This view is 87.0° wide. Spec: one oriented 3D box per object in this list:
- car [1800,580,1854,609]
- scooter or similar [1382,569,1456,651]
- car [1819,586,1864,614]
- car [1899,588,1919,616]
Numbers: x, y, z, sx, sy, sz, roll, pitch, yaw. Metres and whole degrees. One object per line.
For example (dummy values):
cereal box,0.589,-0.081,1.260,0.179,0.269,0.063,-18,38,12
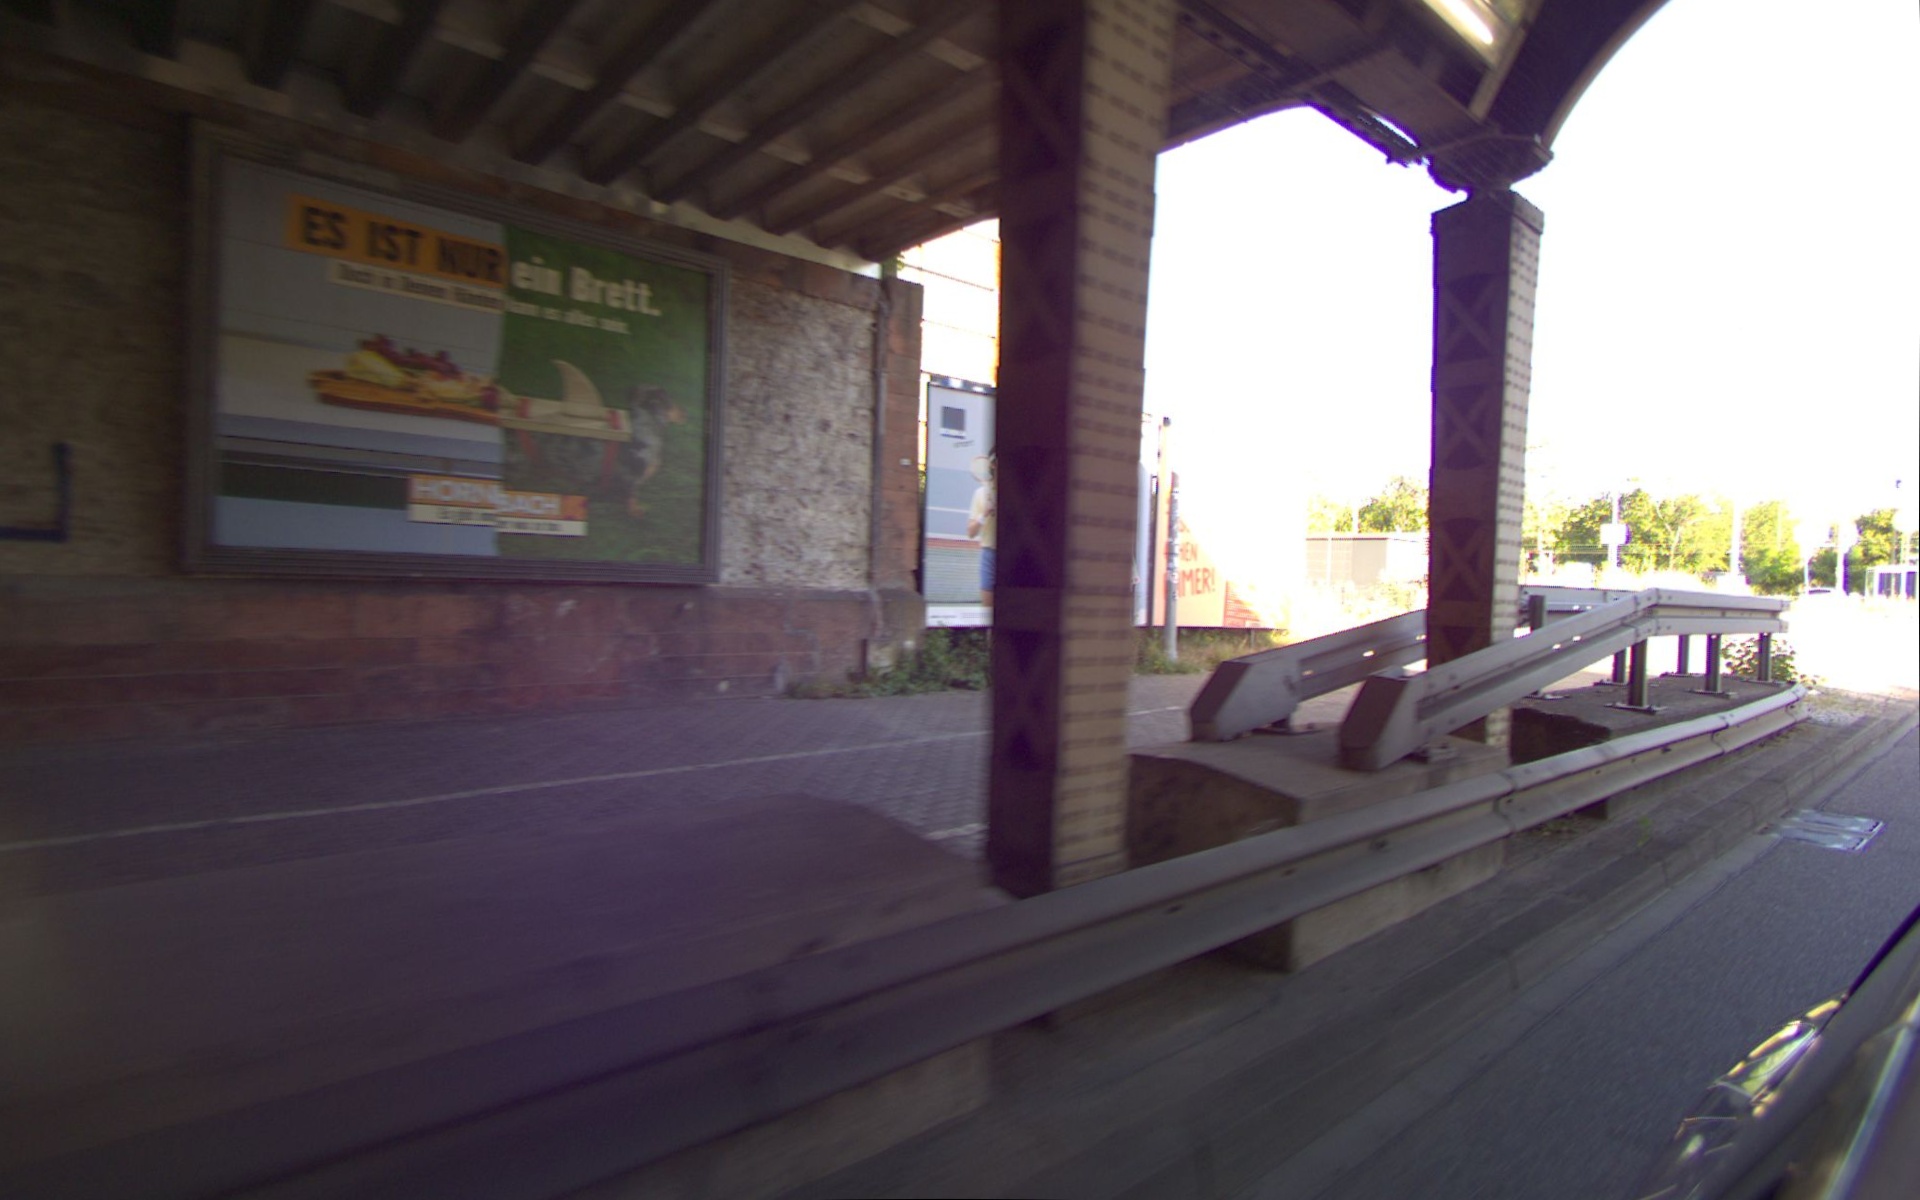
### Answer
car,48.388,-0.327,56.454,4.203,1.530,1.887,0,2,-44
scooter or similar,7.140,0.139,15.728,1.268,1.212,0.538,0,2,-41
car,59.344,-0.025,68.109,4.134,1.831,1.982,0,2,-44
car,63.591,0.146,66.047,2.156,1.752,4.452,2,1,26
